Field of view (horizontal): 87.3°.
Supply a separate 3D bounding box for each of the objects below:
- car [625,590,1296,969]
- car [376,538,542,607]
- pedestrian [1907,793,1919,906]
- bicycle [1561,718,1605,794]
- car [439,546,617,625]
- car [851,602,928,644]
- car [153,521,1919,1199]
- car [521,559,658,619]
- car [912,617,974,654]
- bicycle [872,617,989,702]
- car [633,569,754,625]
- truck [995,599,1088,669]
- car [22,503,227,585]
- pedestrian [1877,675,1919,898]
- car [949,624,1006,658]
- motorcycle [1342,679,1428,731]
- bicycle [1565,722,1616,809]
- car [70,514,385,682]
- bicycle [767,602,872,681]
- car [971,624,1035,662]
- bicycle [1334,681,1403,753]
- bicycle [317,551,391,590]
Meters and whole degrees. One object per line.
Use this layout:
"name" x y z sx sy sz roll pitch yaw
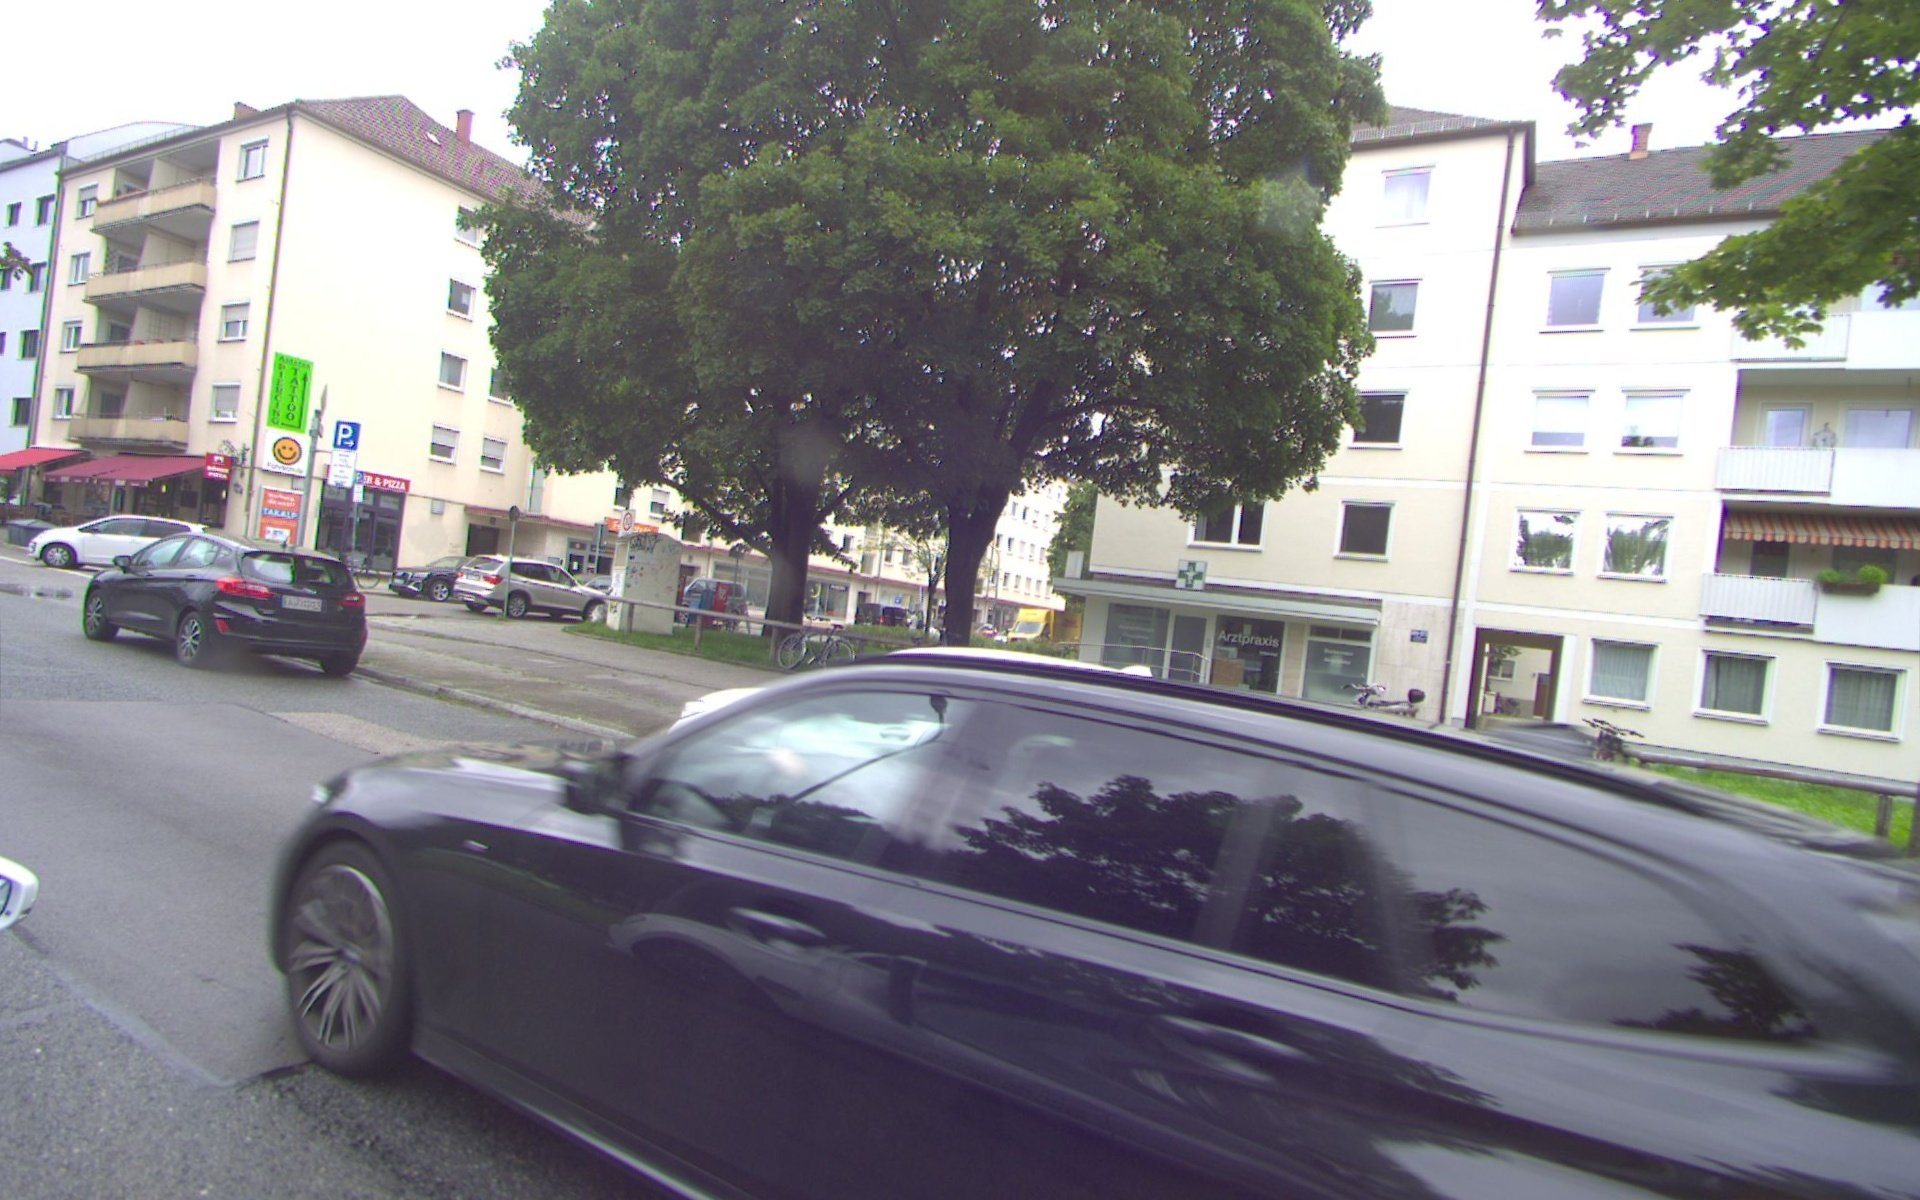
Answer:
"car" -0.094 0.977 6.746 4.067 1.481 1.687 7 -3 31
"car" -15.865 -0.828 32.119 1.839 1.681 4.402 7 0 27
"pedestrian" 8.465 1.634 8.139 0.887 1.913 0.588 7 1 30
"bicycle" 9.151 2.257 14.770 0.426 0.985 1.880 7 -2 33
"car" -12.388 -0.360 29.173 1.839 1.681 4.402 9 1 28
"car" -3.768 1.265 54.555 1.839 1.679 4.750 7 -3 27
"car" -0.220 0.772 2.922 4.387 1.429 1.763 7 -2 30
"car" -13.297 -0.351 36.341 1.839 1.681 4.401 7 0 28
"car" -0.951 2.128 60.021 1.839 1.679 4.089 7 -3 27
"bicycle" -0.492 0.933 16.020 1.852 1.116 0.382 6 -1 32
"car" -10.848 -0.060 41.274 1.840 1.794 4.742 7 0 30
"truck" 4.744 2.022 57.161 2.318 3.282 7.426 7 -2 27
"car" -20.287 -1.343 24.639 3.524 1.434 1.856 8 0 -32
"pedestrian" 8.790 1.660 8.744 0.904 1.913 0.730 7 1 30
"car" 1.157 2.647 64.272 1.839 1.679 4.089 7 -3 27
"motorcycle" 10.875 2.684 25.760 1.875 1.035 0.605 6 -1 32
"bicycle" 8.162 2.102 13.024 0.426 0.985 1.880 7 -2 33
"car" -8.725 -0.046 11.933 3.613 1.482 1.621 7 -3 31
"bicycle" -2.418 0.696 17.196 1.823 1.118 0.389 6 -1 32
"car" 2.625 2.613 60.444 1.839 1.679 4.740 7 -3 27
"bicycle" 6.130 1.748 15.039 0.549 0.950 1.880 7 -2 33
"bicycle" -18.669 -0.896 31.042 0.548 0.968 1.852 7 -2 30
